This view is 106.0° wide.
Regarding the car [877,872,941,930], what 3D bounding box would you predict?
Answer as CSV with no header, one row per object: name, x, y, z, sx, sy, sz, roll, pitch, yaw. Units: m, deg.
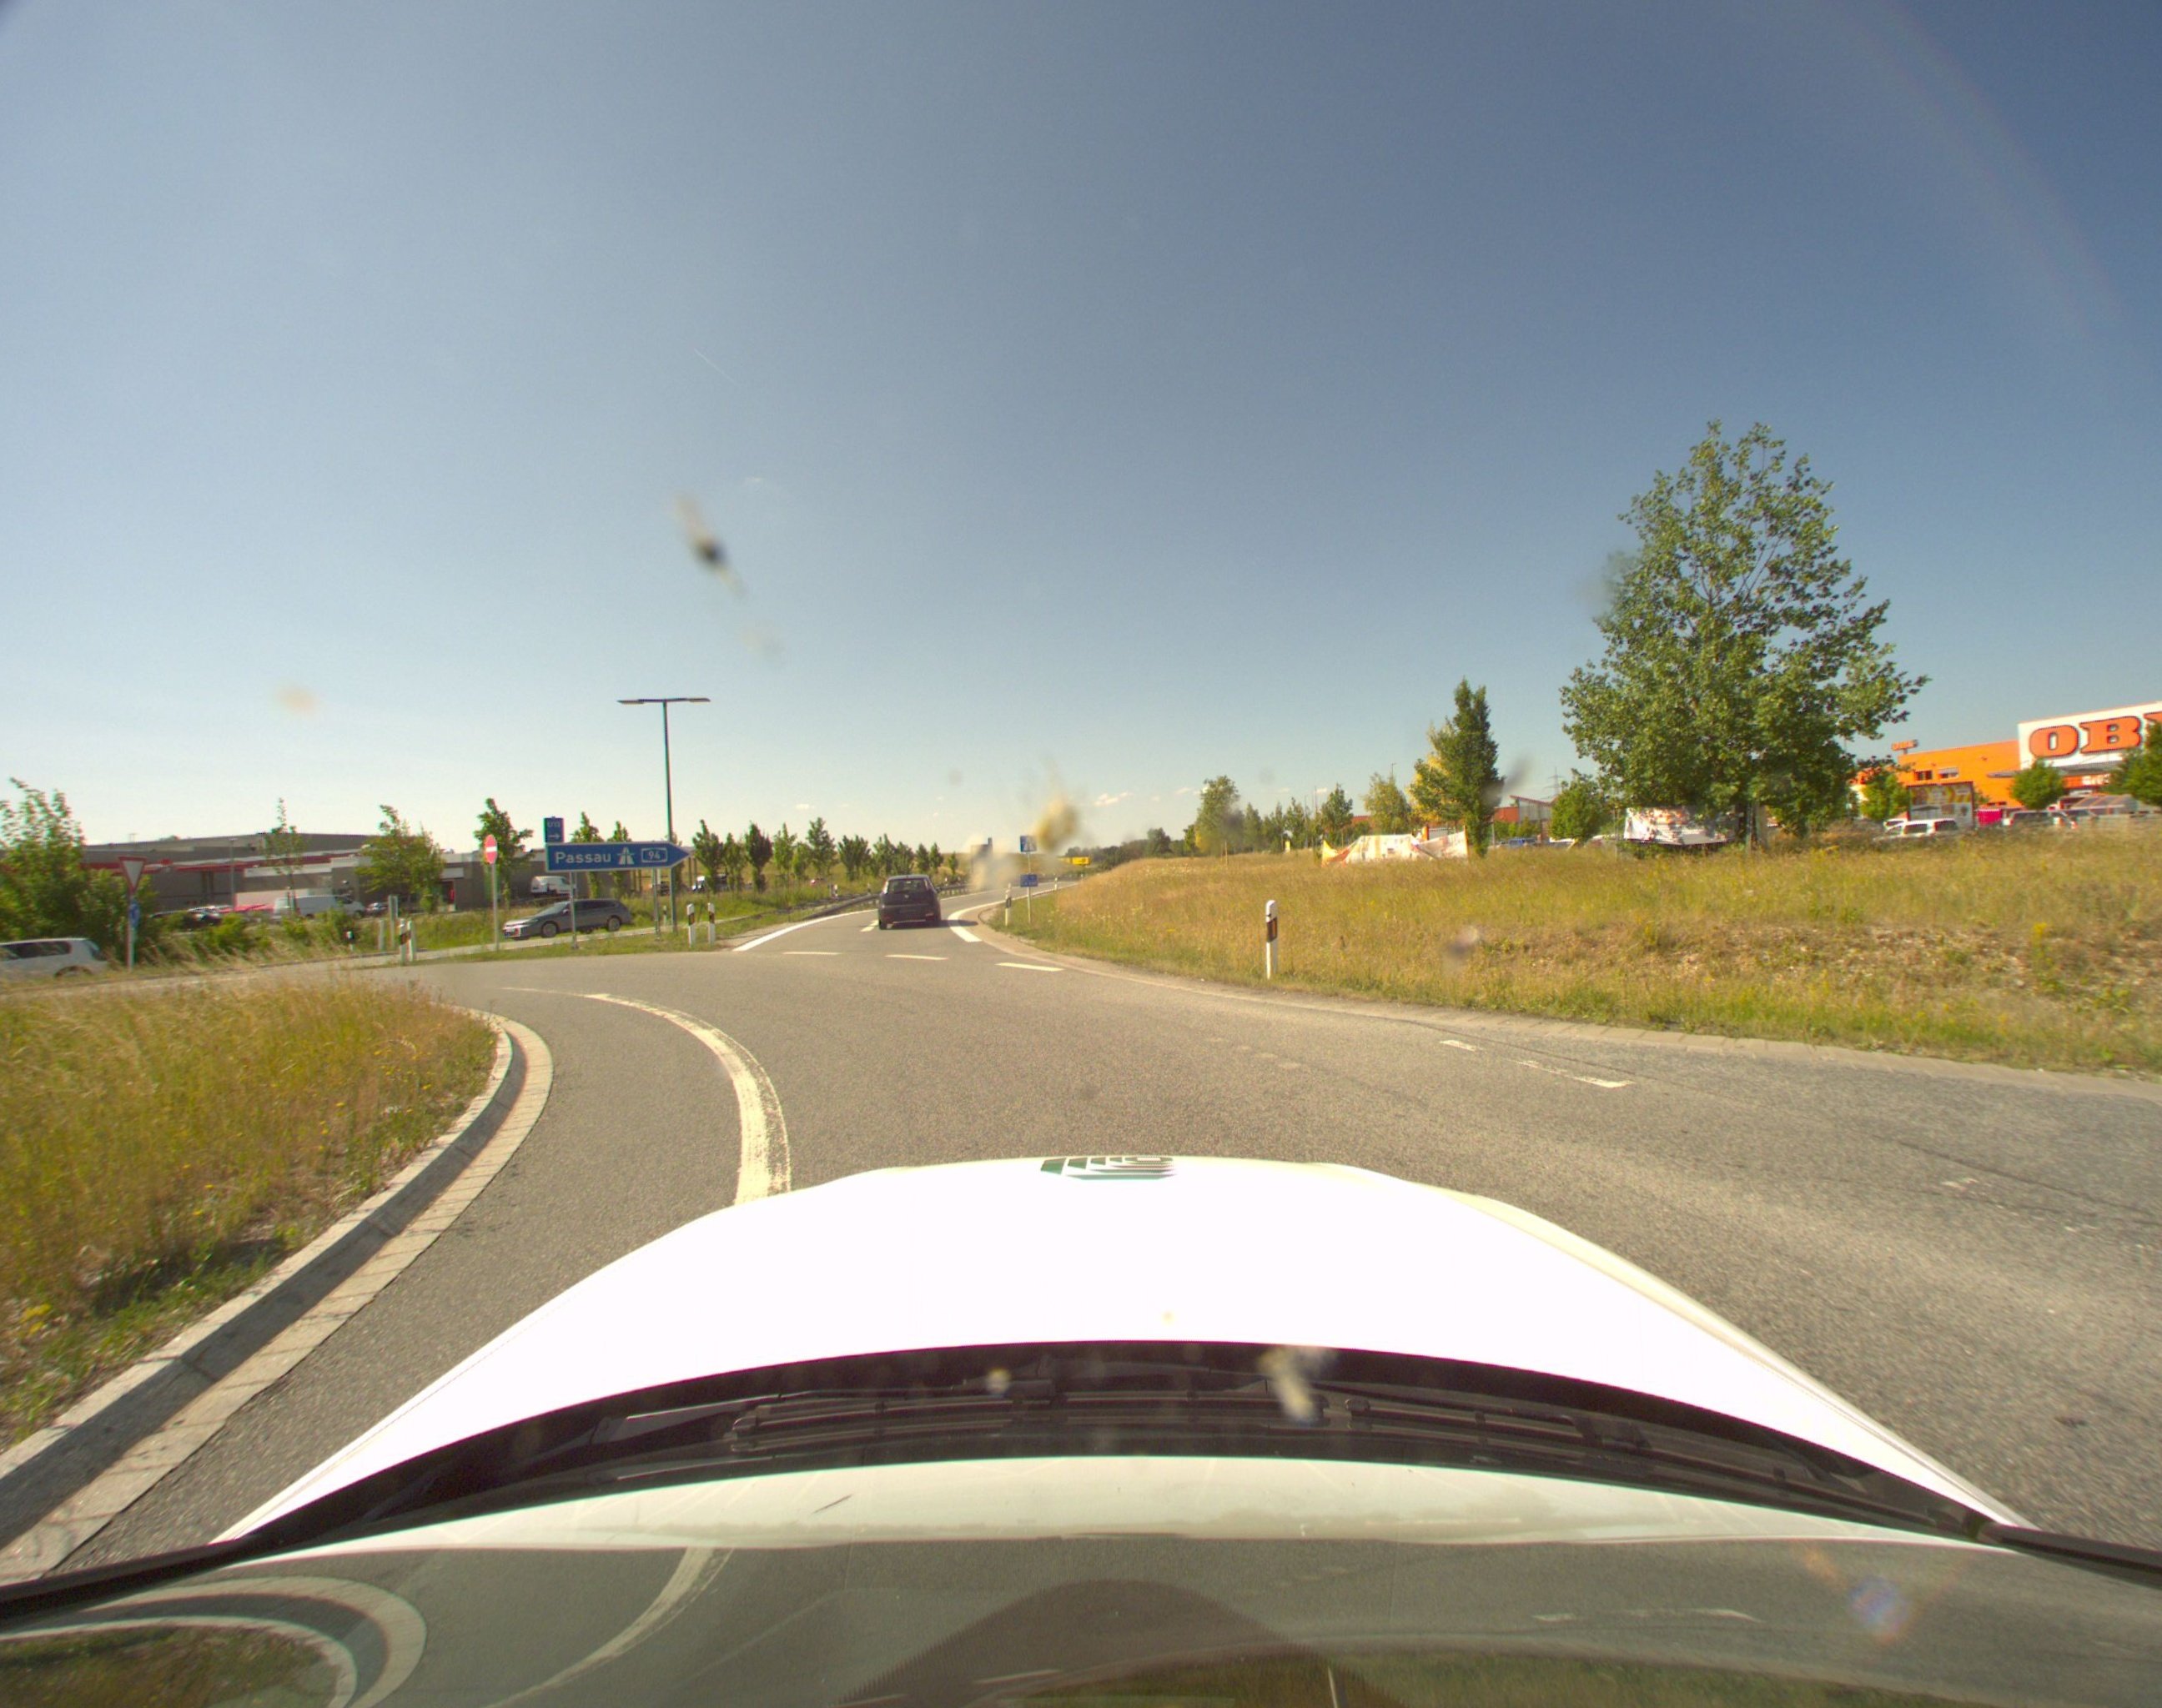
car,-5.092,1.328,24.050,1.641,1.487,3.887,-2,-1,-12

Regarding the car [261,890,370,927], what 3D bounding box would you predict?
car,-50.683,3.583,54.102,1.984,2.013,5.144,-3,0,5

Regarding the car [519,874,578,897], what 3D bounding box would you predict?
car,-44.582,2.625,68.274,1.983,1.732,4.008,-3,0,7

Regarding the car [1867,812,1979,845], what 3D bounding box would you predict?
car,48.060,-1.425,46.599,1.992,1.618,3.989,-3,0,-8

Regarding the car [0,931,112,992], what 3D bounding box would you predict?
car,-29.538,3.027,22.399,1.672,1.413,3.605,-4,-1,42

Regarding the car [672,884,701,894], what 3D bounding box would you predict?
car,-45.685,4.027,94.322,2.691,1.009,1.246,-3,-1,1

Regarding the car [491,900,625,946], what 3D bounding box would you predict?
car,-21.242,2.776,33.297,1.673,1.413,4.391,-3,0,23
